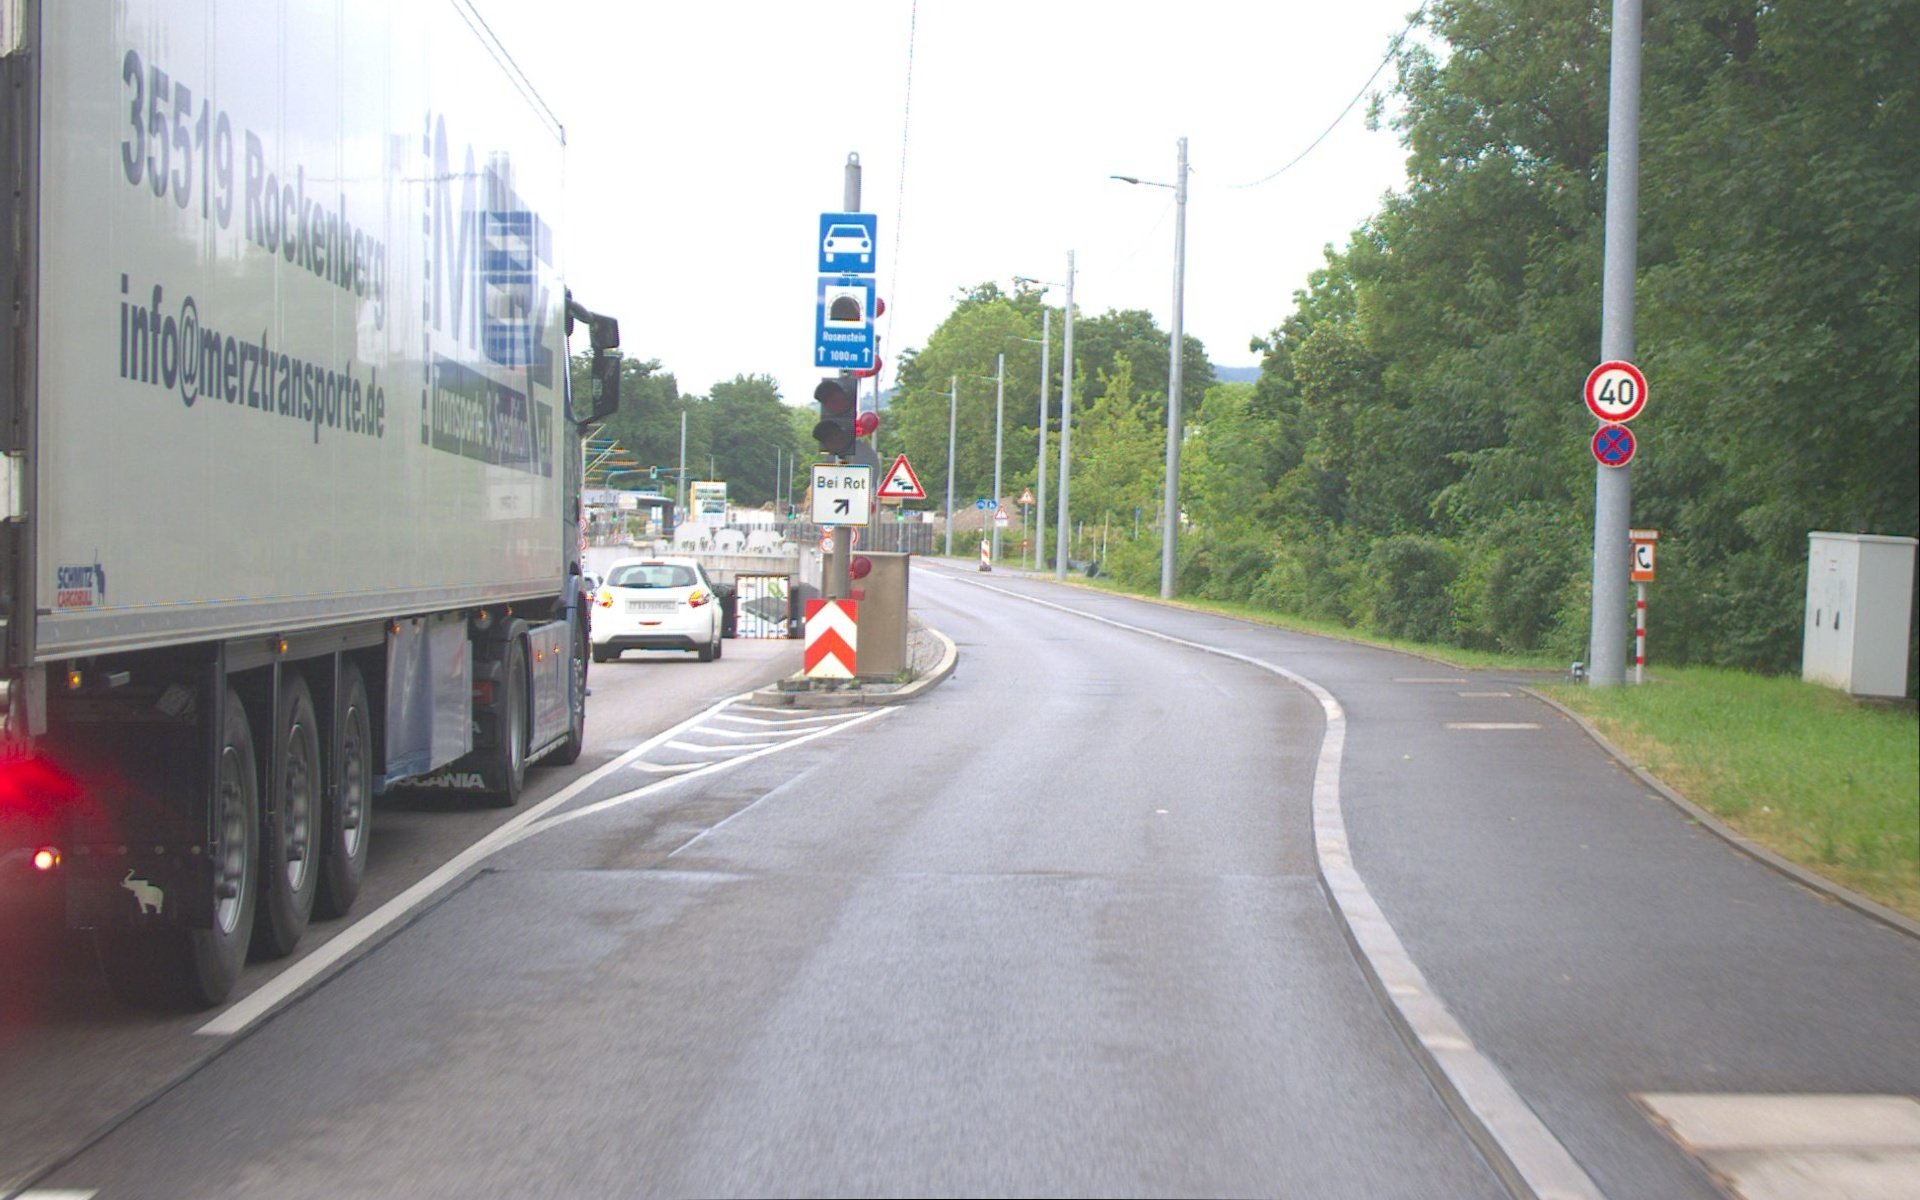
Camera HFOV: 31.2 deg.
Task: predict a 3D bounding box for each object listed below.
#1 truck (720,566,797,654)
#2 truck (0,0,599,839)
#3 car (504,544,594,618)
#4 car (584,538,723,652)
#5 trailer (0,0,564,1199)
[{"bbox_3d":[-9.596,0.431,164.375,3.518,4.026,8.075,1,1,-3],"label":"truck"},{"bbox_3d":[-3.759,-0.984,20.216,2.756,4.190,6.307,0,1,-1],"label":"truck"},{"bbox_3d":[-9.027,-0.438,75.750,1.681,1.441,4.001,1,3,-3],"label":"car"},{"bbox_3d":[-4.327,-0.105,48.968,1.810,1.419,4.001,1,3,-3],"label":"car"},{"bbox_3d":[-3.595,-0.830,14.038,2.762,4.238,13.185,0,1,-1],"label":"trailer"}]
